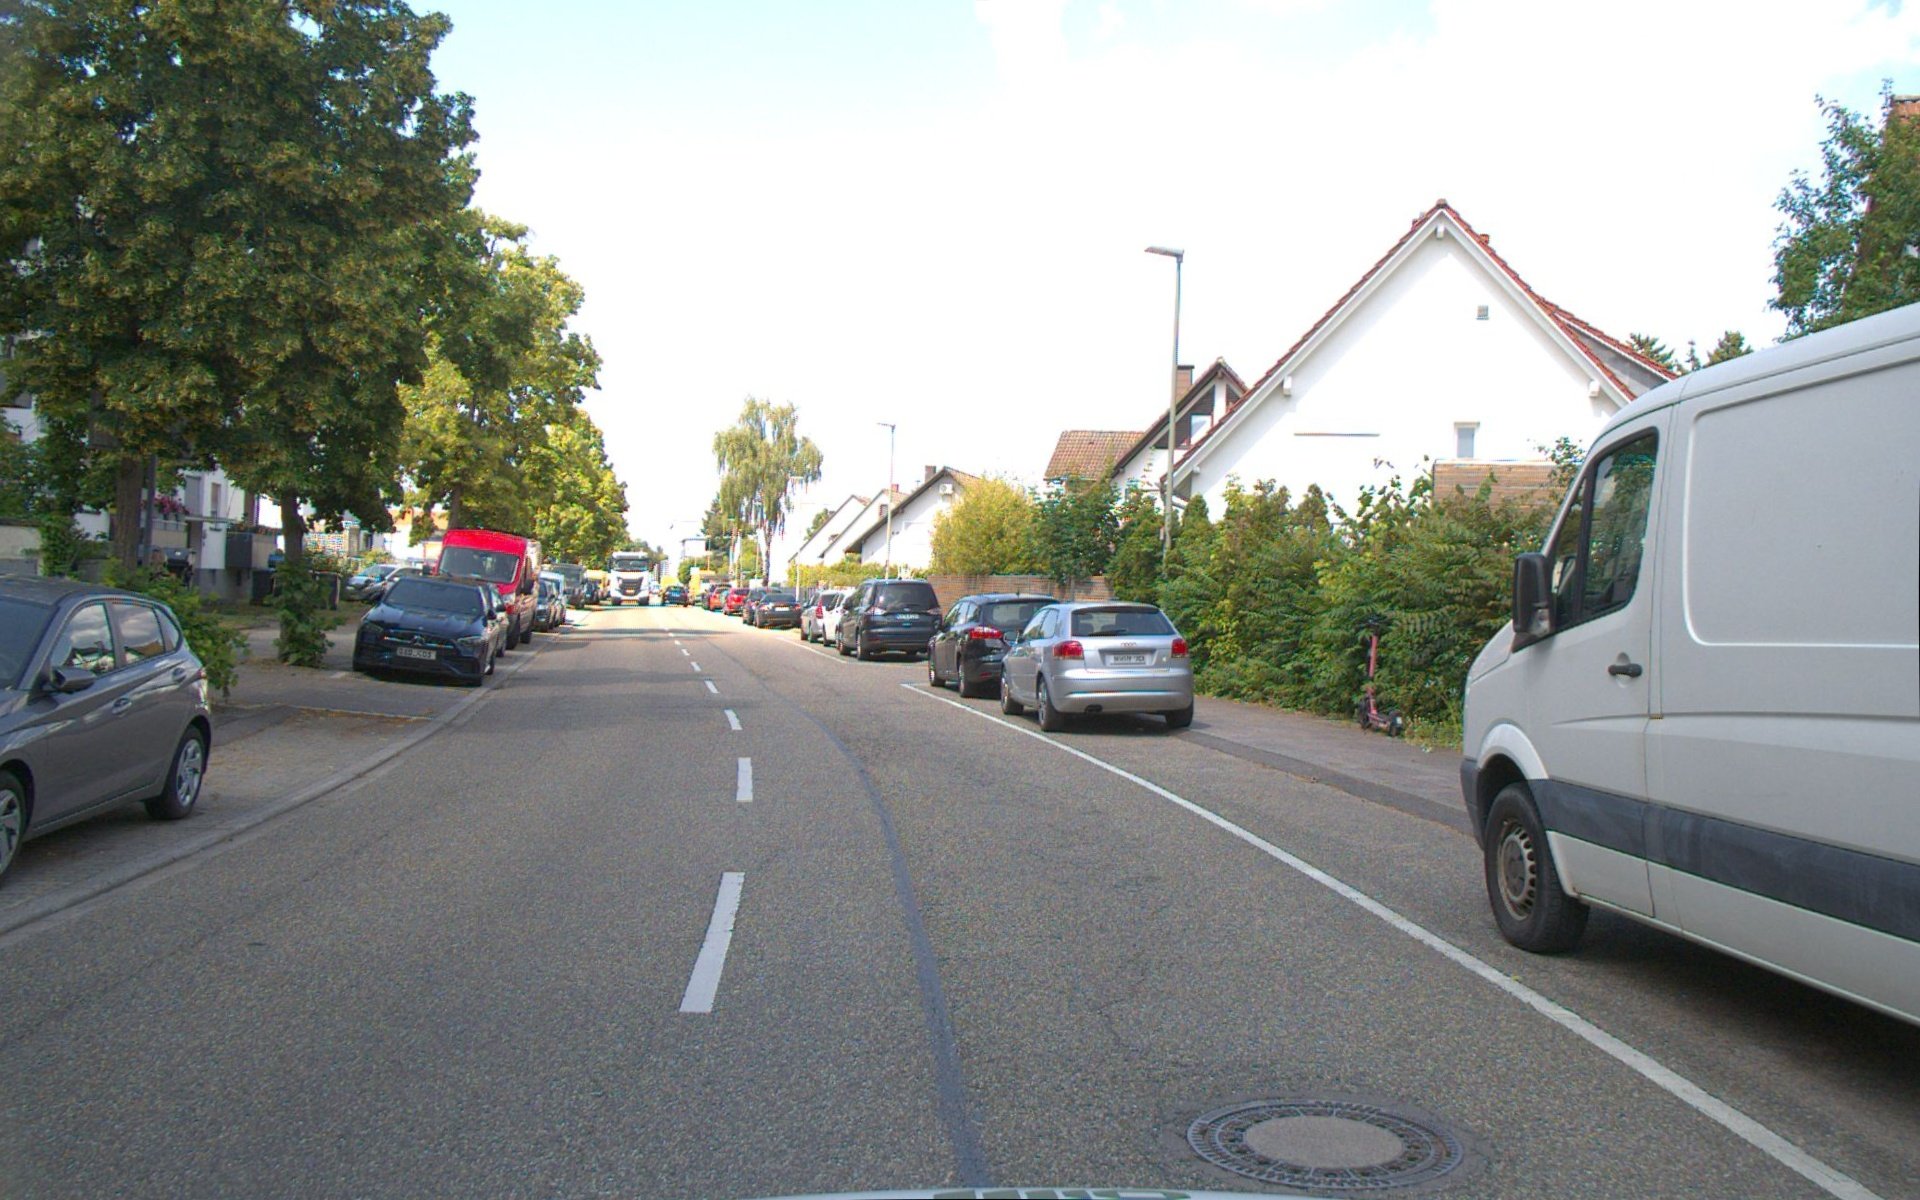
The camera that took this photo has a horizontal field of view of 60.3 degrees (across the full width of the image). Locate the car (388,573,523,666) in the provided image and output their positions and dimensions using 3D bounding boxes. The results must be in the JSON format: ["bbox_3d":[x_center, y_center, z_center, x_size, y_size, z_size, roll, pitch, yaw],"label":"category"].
[{"bbox_3d":[-9.470,0.342,31.373,1.755,1.482,4.425,5,-1,-9],"label":"car"}]

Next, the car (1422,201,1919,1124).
[{"bbox_3d":[3.561,0.176,5.242,2.076,2.483,5.888,1,0,-5],"label":"car"}]

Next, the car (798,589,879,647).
[{"bbox_3d":[-3.534,0.482,47.505,1.764,1.550,3.961,1,0,-13],"label":"car"}]

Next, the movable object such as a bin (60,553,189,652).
[{"bbox_3d":[-13.561,0.037,26.925,1.329,1.530,1.823,1,0,-9],"label":"movable object such as a bin"}]

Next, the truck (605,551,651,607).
[{"bbox_3d":[-22.529,-1.415,112.561,2.812,3.574,12.322,1,0,-11],"label":"truck"}]

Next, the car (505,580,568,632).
[{"bbox_3d":[-13.802,0.165,54.097,1.757,1.482,4.420,5,-1,-13],"label":"car"}]

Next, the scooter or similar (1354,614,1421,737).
[{"bbox_3d":[4.657,0.802,18.061,0.208,1.274,1.241,2,0,-8],"label":"scooter or similar"}]

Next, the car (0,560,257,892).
[{"bbox_3d":[-5.497,0.557,9.100,1.727,1.515,4.338,3,0,-6],"label":"car"}]

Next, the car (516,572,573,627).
[{"bbox_3d":[-15.077,-0.021,60.183,1.757,1.776,4.420,5,-1,-13],"label":"car"}]

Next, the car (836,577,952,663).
[{"bbox_3d":[-1.548,0.400,36.892,1.764,1.779,4.569,1,0,-13],"label":"car"}]

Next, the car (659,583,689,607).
[{"bbox_3d":[-19.582,-0.340,113.029,1.764,1.550,4.517,1,0,-13],"label":"car"}]

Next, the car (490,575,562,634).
[{"bbox_3d":[-12.520,0.111,47.923,1.757,1.482,4.420,5,-1,-13],"label":"car"}]

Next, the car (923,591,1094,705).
[{"bbox_3d":[0.637,0.661,25.339,1.706,1.535,4.465,1,0,-10],"label":"car"}]

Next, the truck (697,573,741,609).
[{"bbox_3d":[-16.431,-0.651,112.569,2.523,2.300,6.516,1,0,-12],"label":"truck"}]

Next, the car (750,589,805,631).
[{"bbox_3d":[-7.141,0.360,64.513,1.763,1.550,3.962,1,0,-12],"label":"car"}]

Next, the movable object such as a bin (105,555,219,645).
[{"bbox_3d":[-14.211,-0.011,29.531,1.329,1.530,1.823,1,0,-9],"label":"movable object such as a bin"}]

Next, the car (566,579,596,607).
[{"bbox_3d":[-24.874,-0.474,108.496,1.757,1.628,4.420,5,-1,-13],"label":"car"}]

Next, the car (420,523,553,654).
[{"bbox_3d":[-10.607,-0.273,37.476,2.026,2.543,5.828,5,0,-9],"label":"car"}]

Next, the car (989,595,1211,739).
[{"bbox_3d":[1.550,0.716,19.858,1.705,1.483,4.357,1,0,-8],"label":"car"}]

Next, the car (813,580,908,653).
[{"bbox_3d":[-2.641,0.385,43.196,1.764,1.779,3.959,1,0,-14],"label":"car"}]

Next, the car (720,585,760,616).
[{"bbox_3d":[-11.673,0.006,87.589,1.763,1.550,4.518,1,0,-12],"label":"car"}]

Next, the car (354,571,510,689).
[{"bbox_3d":[-7.879,0.407,25.027,1.757,1.482,4.420,5,-1,-13],"label":"car"}]

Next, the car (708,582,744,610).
[{"bbox_3d":[-13.766,-0.231,97.157,1.763,1.550,4.518,1,0,-12],"label":"car"}]

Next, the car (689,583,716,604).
[{"bbox_3d":[-19.974,-0.551,128.397,1.764,1.550,4.517,1,0,-13],"label":"car"}]

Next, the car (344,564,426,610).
[{"bbox_3d":[-21.397,-0.441,61.686,1.753,1.482,4.430,5,-1,-5],"label":"car"}]

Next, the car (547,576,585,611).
[{"bbox_3d":[-20.874,-0.337,87.673,1.757,1.628,4.420,5,-1,-13],"label":"car"}]

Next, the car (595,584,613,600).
[{"bbox_3d":[-41.036,-0.917,190.591,1.757,1.628,4.420,5,-1,-13],"label":"car"}]

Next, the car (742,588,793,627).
[{"bbox_3d":[-8.065,0.294,68.941,1.763,1.550,3.962,1,0,-12],"label":"car"}]

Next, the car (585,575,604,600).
[{"bbox_3d":[-34.934,-1.213,157.949,1.756,2.291,4.756,1,0,-13],"label":"car"}]
